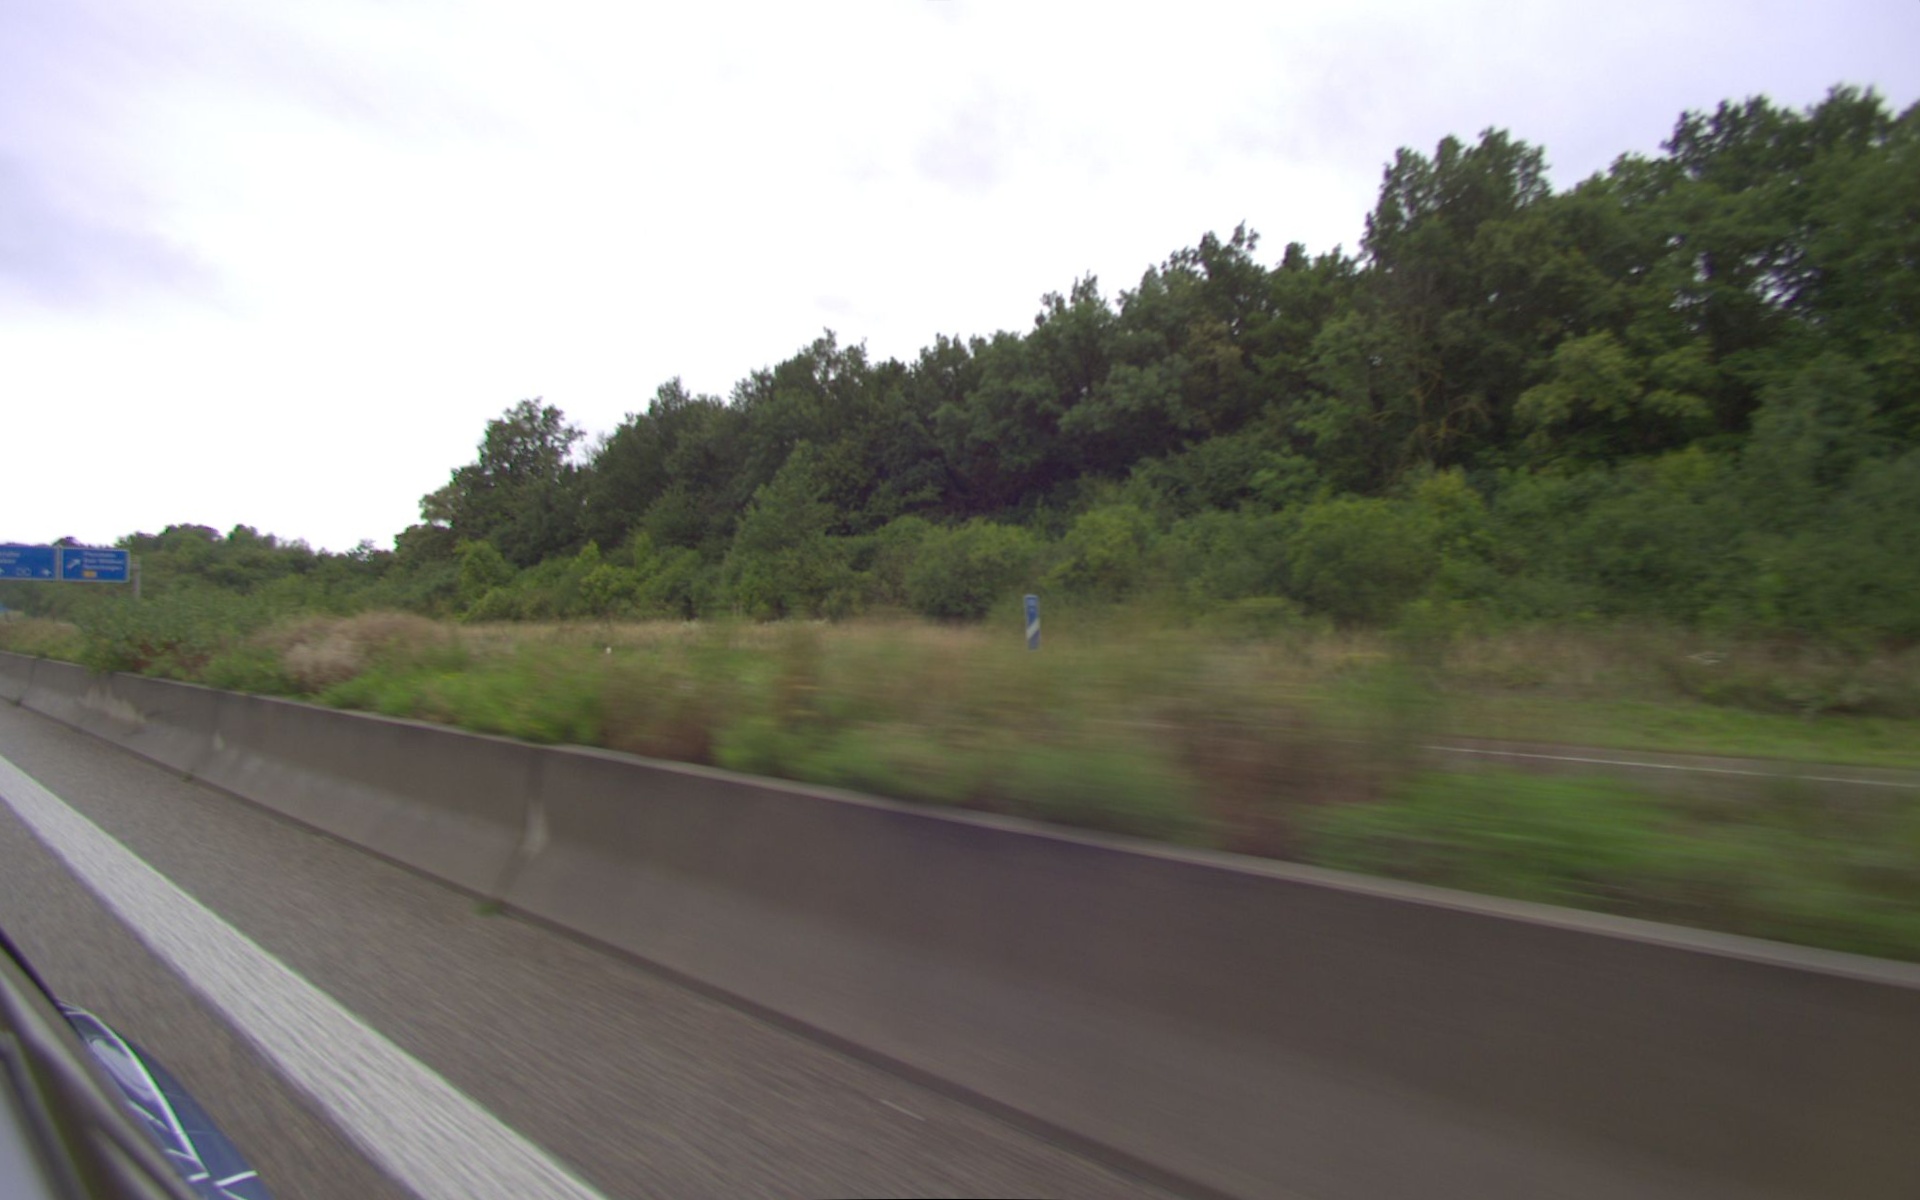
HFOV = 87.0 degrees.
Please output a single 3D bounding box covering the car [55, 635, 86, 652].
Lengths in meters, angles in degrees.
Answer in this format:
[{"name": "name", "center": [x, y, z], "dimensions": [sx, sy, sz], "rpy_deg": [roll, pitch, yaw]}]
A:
[{"name": "car", "center": [-79.258, 3.855, 90.163], "dimensions": [3.474, 1.497, 1.642], "rpy_deg": [-1, -3, 41]}]
